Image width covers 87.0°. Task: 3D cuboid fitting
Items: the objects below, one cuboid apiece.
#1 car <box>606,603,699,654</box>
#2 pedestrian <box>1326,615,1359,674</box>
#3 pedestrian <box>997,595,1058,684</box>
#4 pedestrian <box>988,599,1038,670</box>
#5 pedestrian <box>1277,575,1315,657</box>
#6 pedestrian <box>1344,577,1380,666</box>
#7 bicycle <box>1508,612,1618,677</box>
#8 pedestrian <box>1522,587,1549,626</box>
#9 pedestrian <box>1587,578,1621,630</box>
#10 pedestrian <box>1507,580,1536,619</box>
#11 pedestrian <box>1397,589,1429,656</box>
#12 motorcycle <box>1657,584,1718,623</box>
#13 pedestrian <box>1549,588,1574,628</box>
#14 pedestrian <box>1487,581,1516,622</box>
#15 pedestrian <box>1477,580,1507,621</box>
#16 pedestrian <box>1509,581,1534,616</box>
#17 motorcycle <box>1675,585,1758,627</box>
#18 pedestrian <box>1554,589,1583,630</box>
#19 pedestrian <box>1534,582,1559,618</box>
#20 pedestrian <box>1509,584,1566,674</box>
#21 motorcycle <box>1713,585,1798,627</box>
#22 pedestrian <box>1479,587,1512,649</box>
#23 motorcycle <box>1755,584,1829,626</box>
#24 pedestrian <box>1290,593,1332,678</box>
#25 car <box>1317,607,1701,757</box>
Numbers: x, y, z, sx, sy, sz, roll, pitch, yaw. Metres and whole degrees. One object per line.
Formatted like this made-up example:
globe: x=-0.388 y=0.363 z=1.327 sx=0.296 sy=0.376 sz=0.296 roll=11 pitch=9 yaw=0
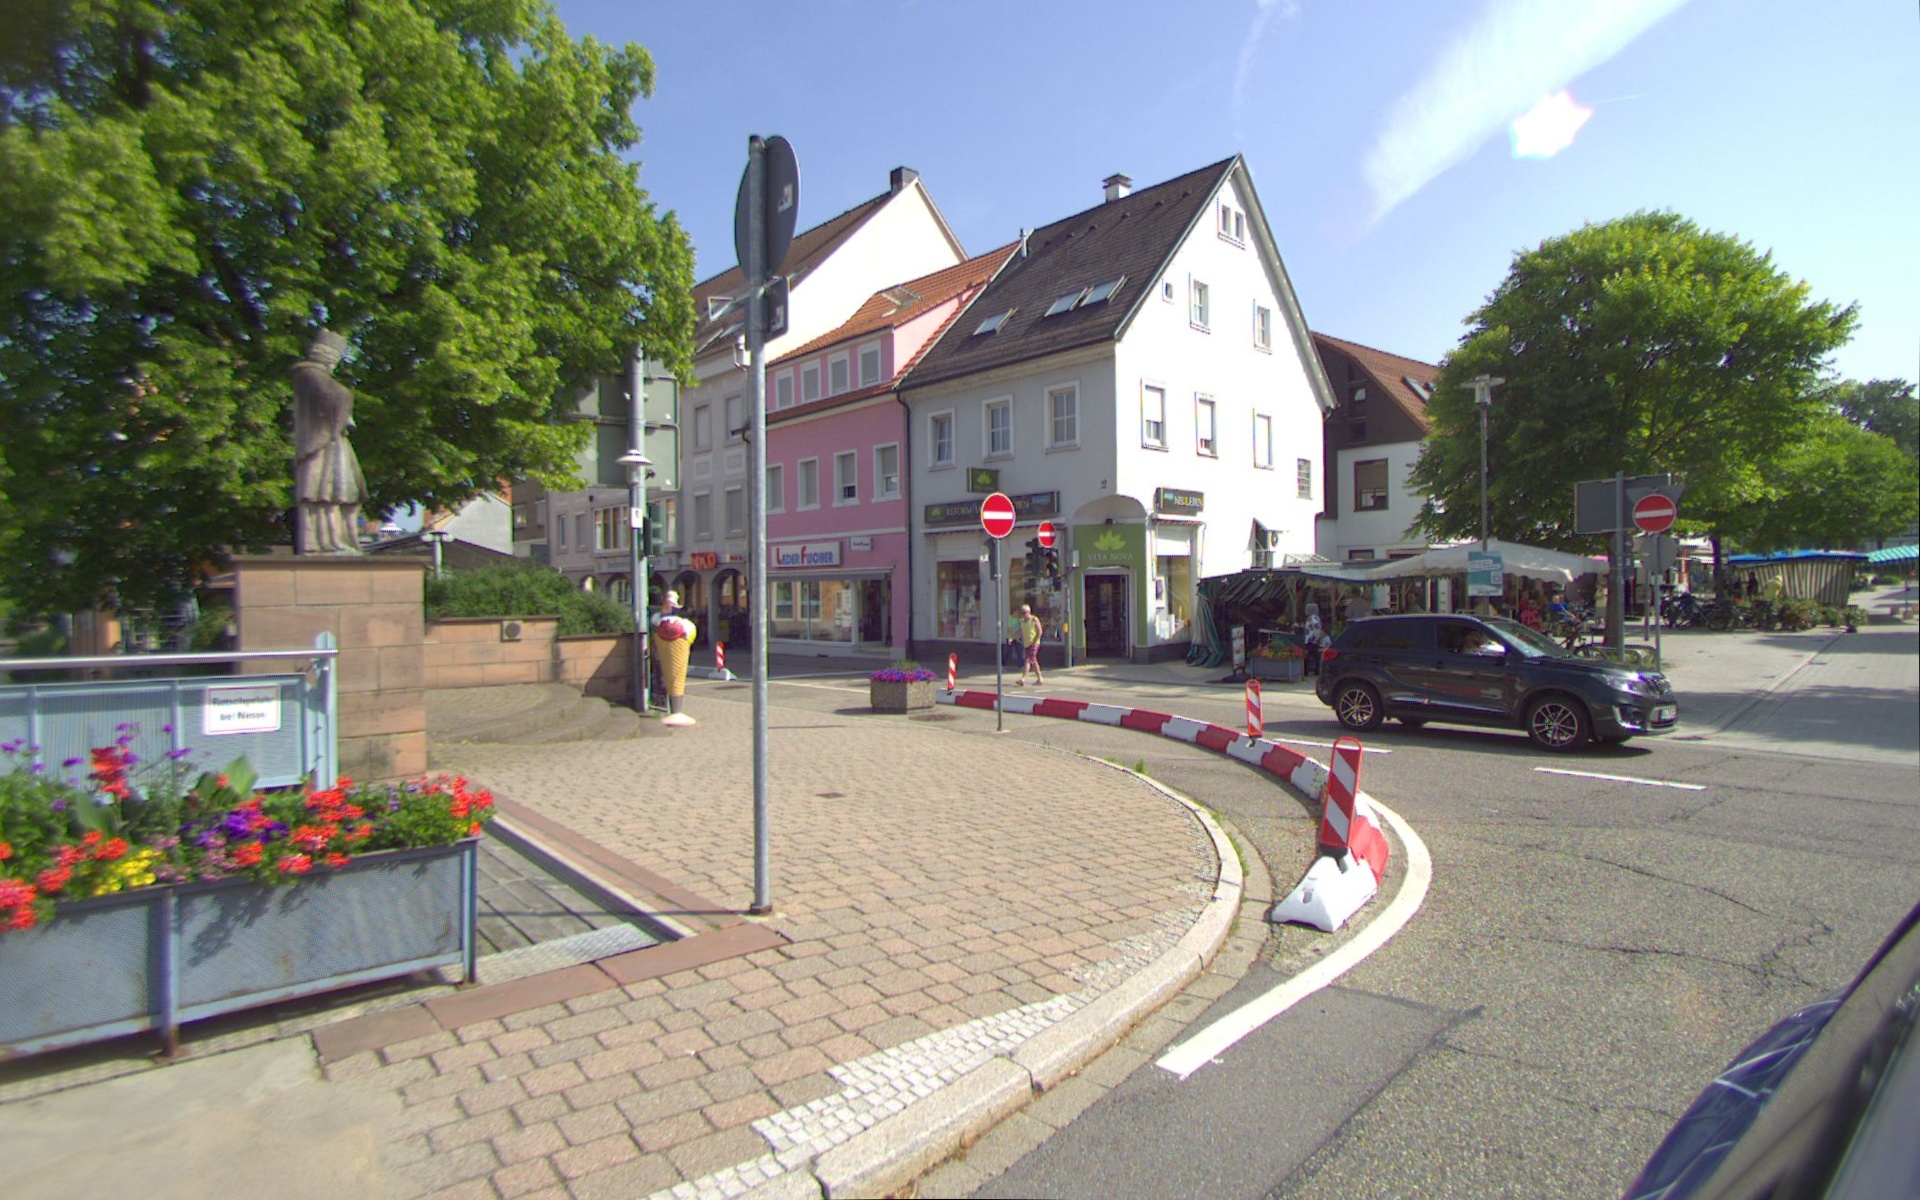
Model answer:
car: x=-11.783 y=1.064 z=38.684 sx=1.684 sy=1.761 sz=4.135 roll=-3 pitch=1 yaw=-43
pedestrian: x=7.818 y=0.909 z=20.724 sx=0.614 sy=1.175 sz=0.513 roll=0 pitch=0 yaw=20
pedestrian: x=1.468 y=0.834 z=21.918 sx=0.901 sy=1.838 sz=1.008 roll=-1 pitch=1 yaw=35
pedestrian: x=1.301 y=0.832 z=24.787 sx=0.775 sy=1.652 sz=0.858 roll=-4 pitch=2 yaw=-40
pedestrian: x=8.269 y=0.390 z=24.918 sx=0.692 sy=1.995 sz=0.509 roll=0 pitch=0 yaw=-15
pedestrian: x=9.283 y=0.483 z=23.349 sx=0.701 sy=2.010 sz=0.646 roll=0 pitch=0 yaw=28
bicycle: x=12.155 y=0.871 z=20.425 sx=1.851 sy=1.250 sz=0.609 roll=-1 pitch=0 yaw=36
pedestrian: x=18.947 y=0.207 z=33.305 sx=0.639 sy=1.215 sz=0.571 roll=-2 pitch=3 yaw=-40
pedestrian: x=19.868 y=0.108 z=31.240 sx=0.561 sy=1.572 sz=0.699 roll=-1 pitch=3 yaw=-35
pedestrian: x=19.535 y=-0.026 z=35.210 sx=0.687 sy=1.347 sz=0.626 roll=-2 pitch=3 yaw=-38
pedestrian: x=11.332 y=0.551 z=25.317 sx=0.520 sy=1.647 sz=0.696 roll=0 pitch=0 yaw=44
motorcycle: x=24.286 y=0.109 z=33.793 sx=0.632 sy=1.210 sz=1.531 roll=-1 pitch=3 yaw=-41
pedestrian: x=19.146 y=0.242 z=32.205 sx=0.569 sy=1.215 sz=0.642 roll=2 pitch=3 yaw=38
pedestrian: x=18.578 y=0.038 z=34.699 sx=0.687 sy=1.347 sz=0.626 roll=-2 pitch=3 yaw=-38
pedestrian: x=17.914 y=0.012 z=34.072 sx=0.687 sy=1.347 sz=0.626 roll=-2 pitch=3 yaw=-38
pedestrian: x=20.028 y=-0.055 z=36.118 sx=0.639 sy=1.215 sz=0.571 roll=-2 pitch=3 yaw=-40
motorcycle: x=24.145 y=0.173 z=32.348 sx=0.630 sy=1.210 sz=2.009 roll=-1 pitch=3 yaw=-27
pedestrian: x=18.812 y=0.295 z=31.281 sx=0.695 sy=1.215 sz=0.565 roll=2 pitch=3 yaw=35
pedestrian: x=20.621 y=-0.018 z=35.582 sx=0.639 sy=1.215 sz=0.571 roll=-2 pitch=3 yaw=-40
pedestrian: x=11.183 y=0.536 z=19.614 sx=0.874 sy=1.678 sz=0.568 roll=1 pitch=2 yaw=24
motorcycle: x=25.186 y=0.166 z=32.092 sx=0.630 sy=1.210 sz=2.009 roll=0 pitch=3 yaw=-28
pedestrian: x=13.575 y=0.439 z=25.648 sx=0.619 sy=1.537 sz=0.624 roll=0 pitch=0 yaw=39
motorcycle: x=26.330 y=0.143 z=32.068 sx=0.631 sy=1.210 sz=2.006 roll=1 pitch=2 yaw=0
pedestrian: x=7.397 y=0.733 z=21.333 sx=0.779 sy=1.746 sz=0.701 roll=0 pitch=0 yaw=24
car: x=6.785 y=0.900 z=12.881 sx=1.653 sy=1.581 sz=3.967 roll=0 pitch=-1 yaw=-38
